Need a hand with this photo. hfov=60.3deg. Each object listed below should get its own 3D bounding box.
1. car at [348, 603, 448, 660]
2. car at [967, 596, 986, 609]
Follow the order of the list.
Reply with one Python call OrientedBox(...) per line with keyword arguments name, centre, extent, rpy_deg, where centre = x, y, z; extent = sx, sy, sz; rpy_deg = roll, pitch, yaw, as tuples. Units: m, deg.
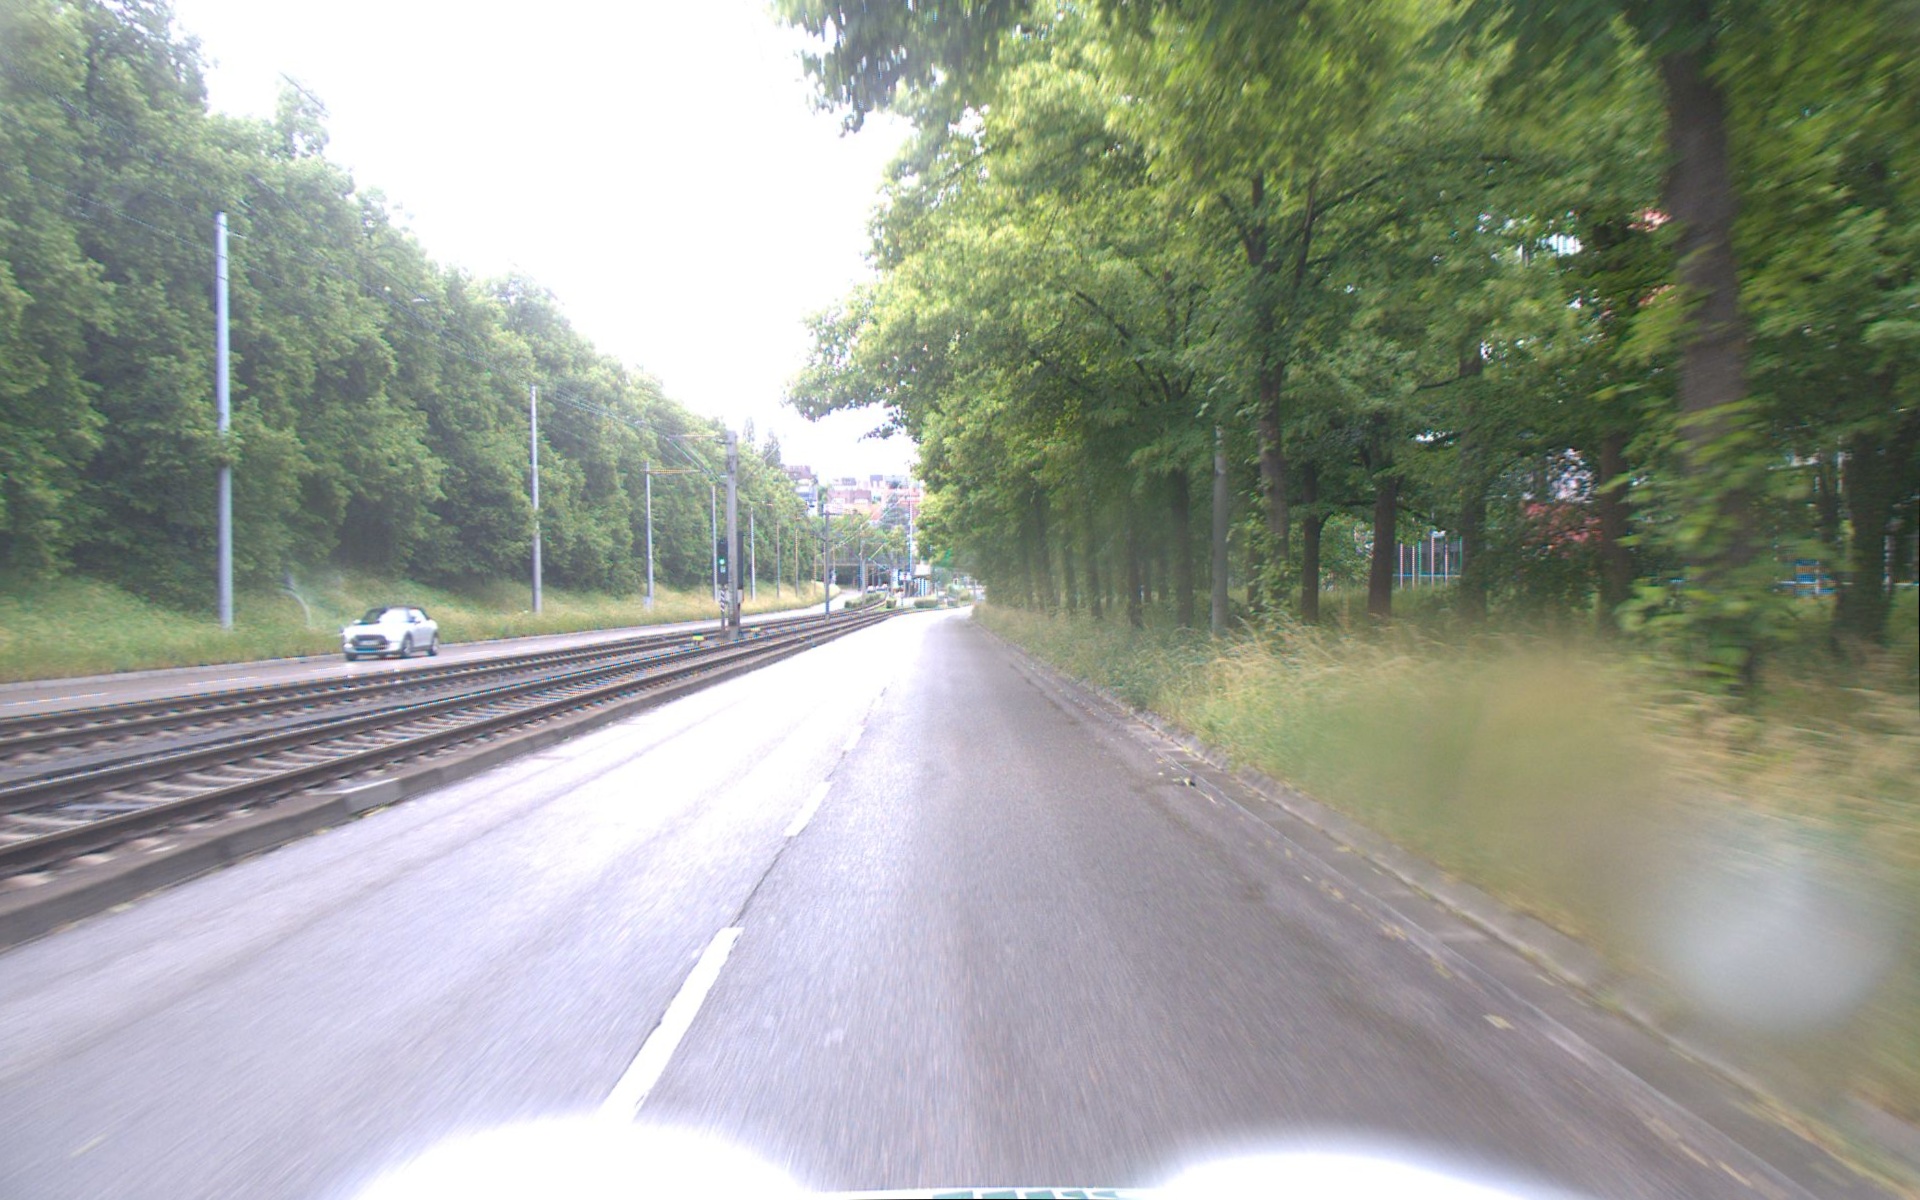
OrientedBox(name="car", centre=(-15.709, 0.842, 46.386), extent=(1.446, 1.461, 3.909), rpy_deg=(-2, 0, 0))
OrientedBox(name="car", centre=(1.918, 0.301, 194.720), extent=(2.149, 1.352, 4.000), rpy_deg=(1, 1, -1))
